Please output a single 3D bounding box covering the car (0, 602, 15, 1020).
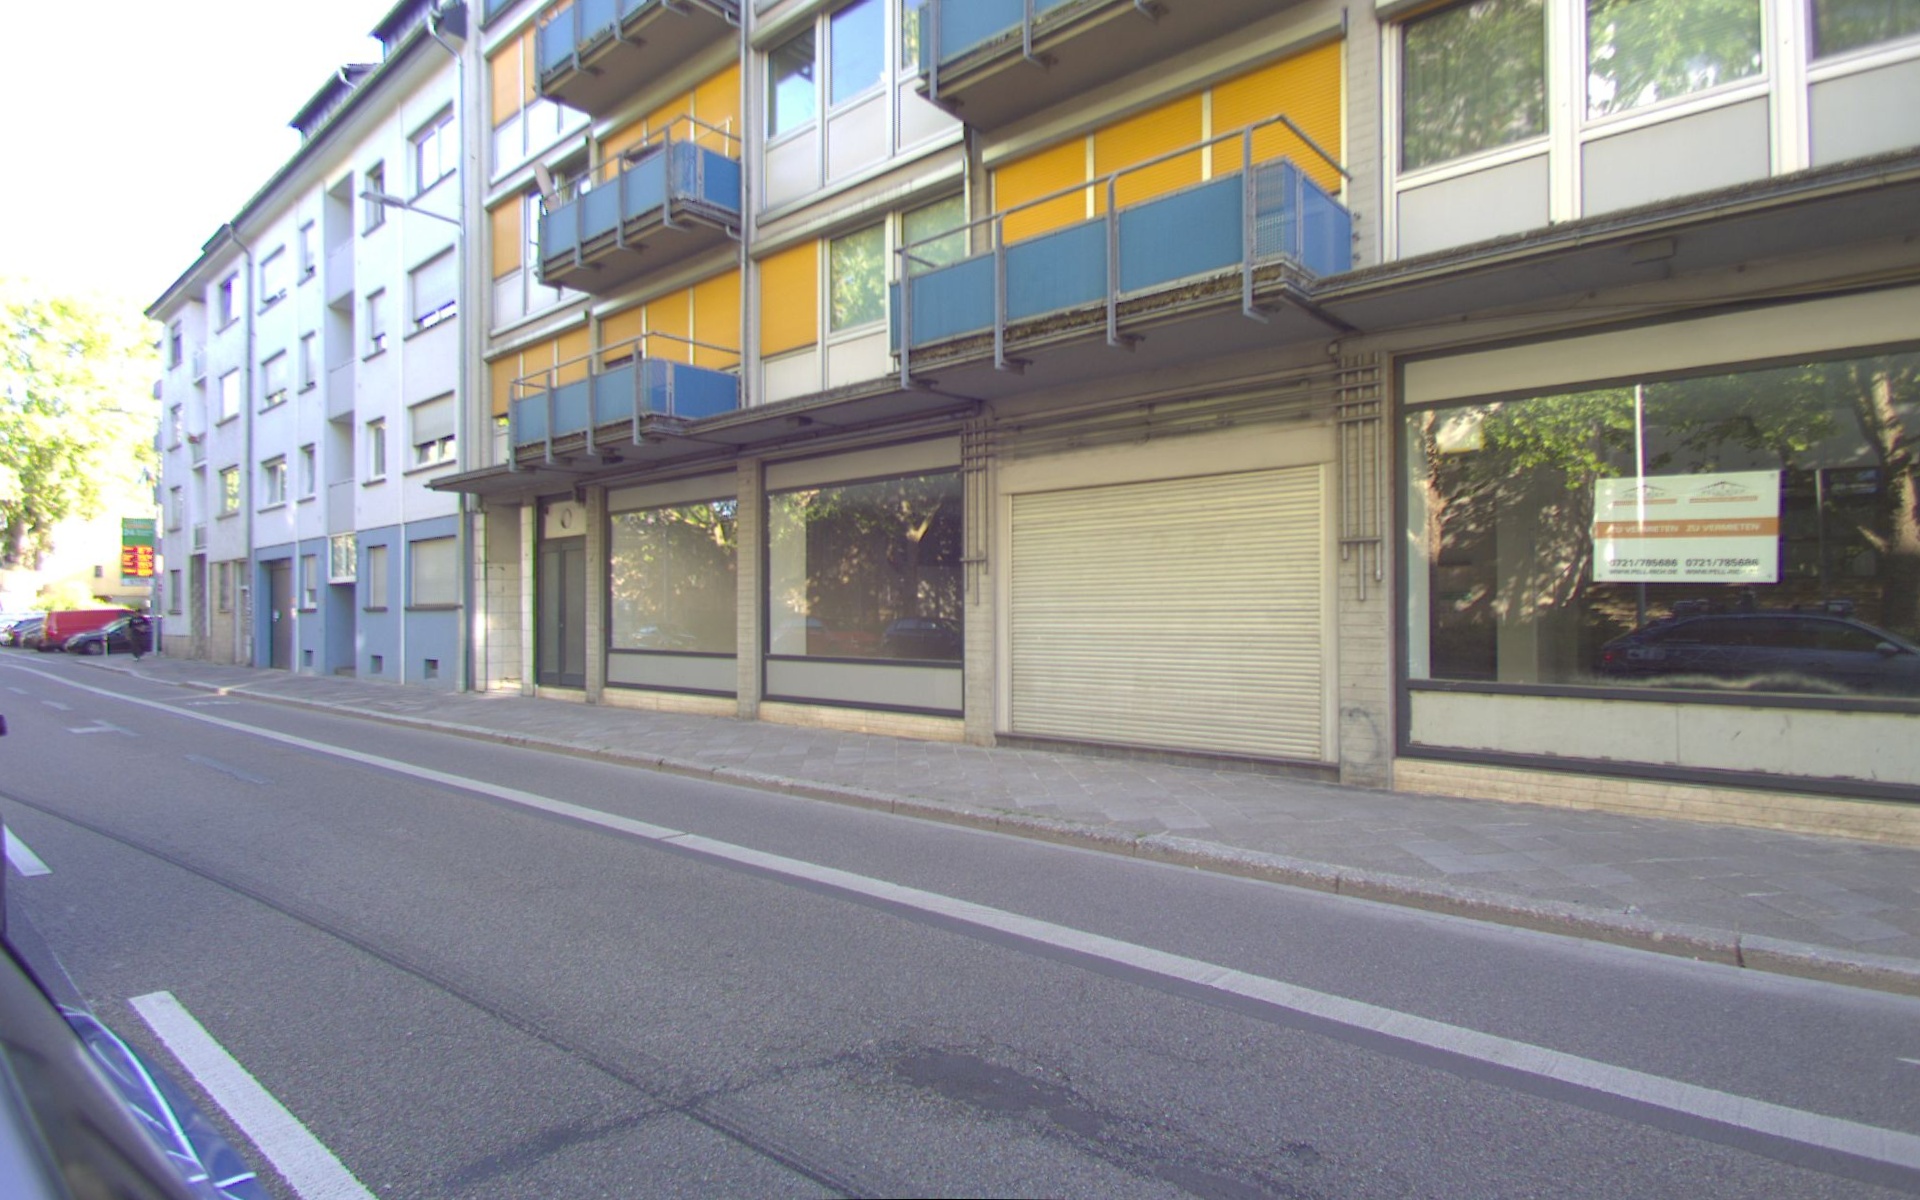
[{"bbox_3d":[-5.661,0.796,4.418,4.300,1.510,1.826,-1,-1,41],"label":"car"}]

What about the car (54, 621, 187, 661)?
[{"bbox_3d":[-36.513,1.742,44.106,1.652,1.411,4.201,-1,1,41],"label":"car"}]

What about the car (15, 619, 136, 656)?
[{"bbox_3d":[-42.775,1.788,49.027,1.652,1.480,4.201,-1,1,41],"label":"car"}]

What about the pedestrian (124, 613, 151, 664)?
[{"bbox_3d":[-27.601,1.282,33.968,0.655,1.708,0.604,-2,-1,41],"label":"pedestrian"}]

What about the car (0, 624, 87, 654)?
[{"bbox_3d":[-54.516,2.276,59.802,1.652,1.480,4.201,-1,1,41],"label":"car"}]

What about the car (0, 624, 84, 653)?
[{"bbox_3d":[-55.897,2.296,61.210,1.652,1.480,4.201,-1,1,41],"label":"car"}]

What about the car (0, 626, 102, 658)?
[{"bbox_3d":[-50.483,2.290,56.117,1.652,1.480,4.201,-1,1,41],"label":"car"}]

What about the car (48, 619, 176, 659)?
[{"bbox_3d":[-38.206,1.729,45.670,1.652,1.480,4.201,-1,1,41],"label":"car"}]

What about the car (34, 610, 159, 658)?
[{"bbox_3d":[-40.587,1.556,47.632,1.817,1.933,4.202,-1,1,40],"label":"car"}]
